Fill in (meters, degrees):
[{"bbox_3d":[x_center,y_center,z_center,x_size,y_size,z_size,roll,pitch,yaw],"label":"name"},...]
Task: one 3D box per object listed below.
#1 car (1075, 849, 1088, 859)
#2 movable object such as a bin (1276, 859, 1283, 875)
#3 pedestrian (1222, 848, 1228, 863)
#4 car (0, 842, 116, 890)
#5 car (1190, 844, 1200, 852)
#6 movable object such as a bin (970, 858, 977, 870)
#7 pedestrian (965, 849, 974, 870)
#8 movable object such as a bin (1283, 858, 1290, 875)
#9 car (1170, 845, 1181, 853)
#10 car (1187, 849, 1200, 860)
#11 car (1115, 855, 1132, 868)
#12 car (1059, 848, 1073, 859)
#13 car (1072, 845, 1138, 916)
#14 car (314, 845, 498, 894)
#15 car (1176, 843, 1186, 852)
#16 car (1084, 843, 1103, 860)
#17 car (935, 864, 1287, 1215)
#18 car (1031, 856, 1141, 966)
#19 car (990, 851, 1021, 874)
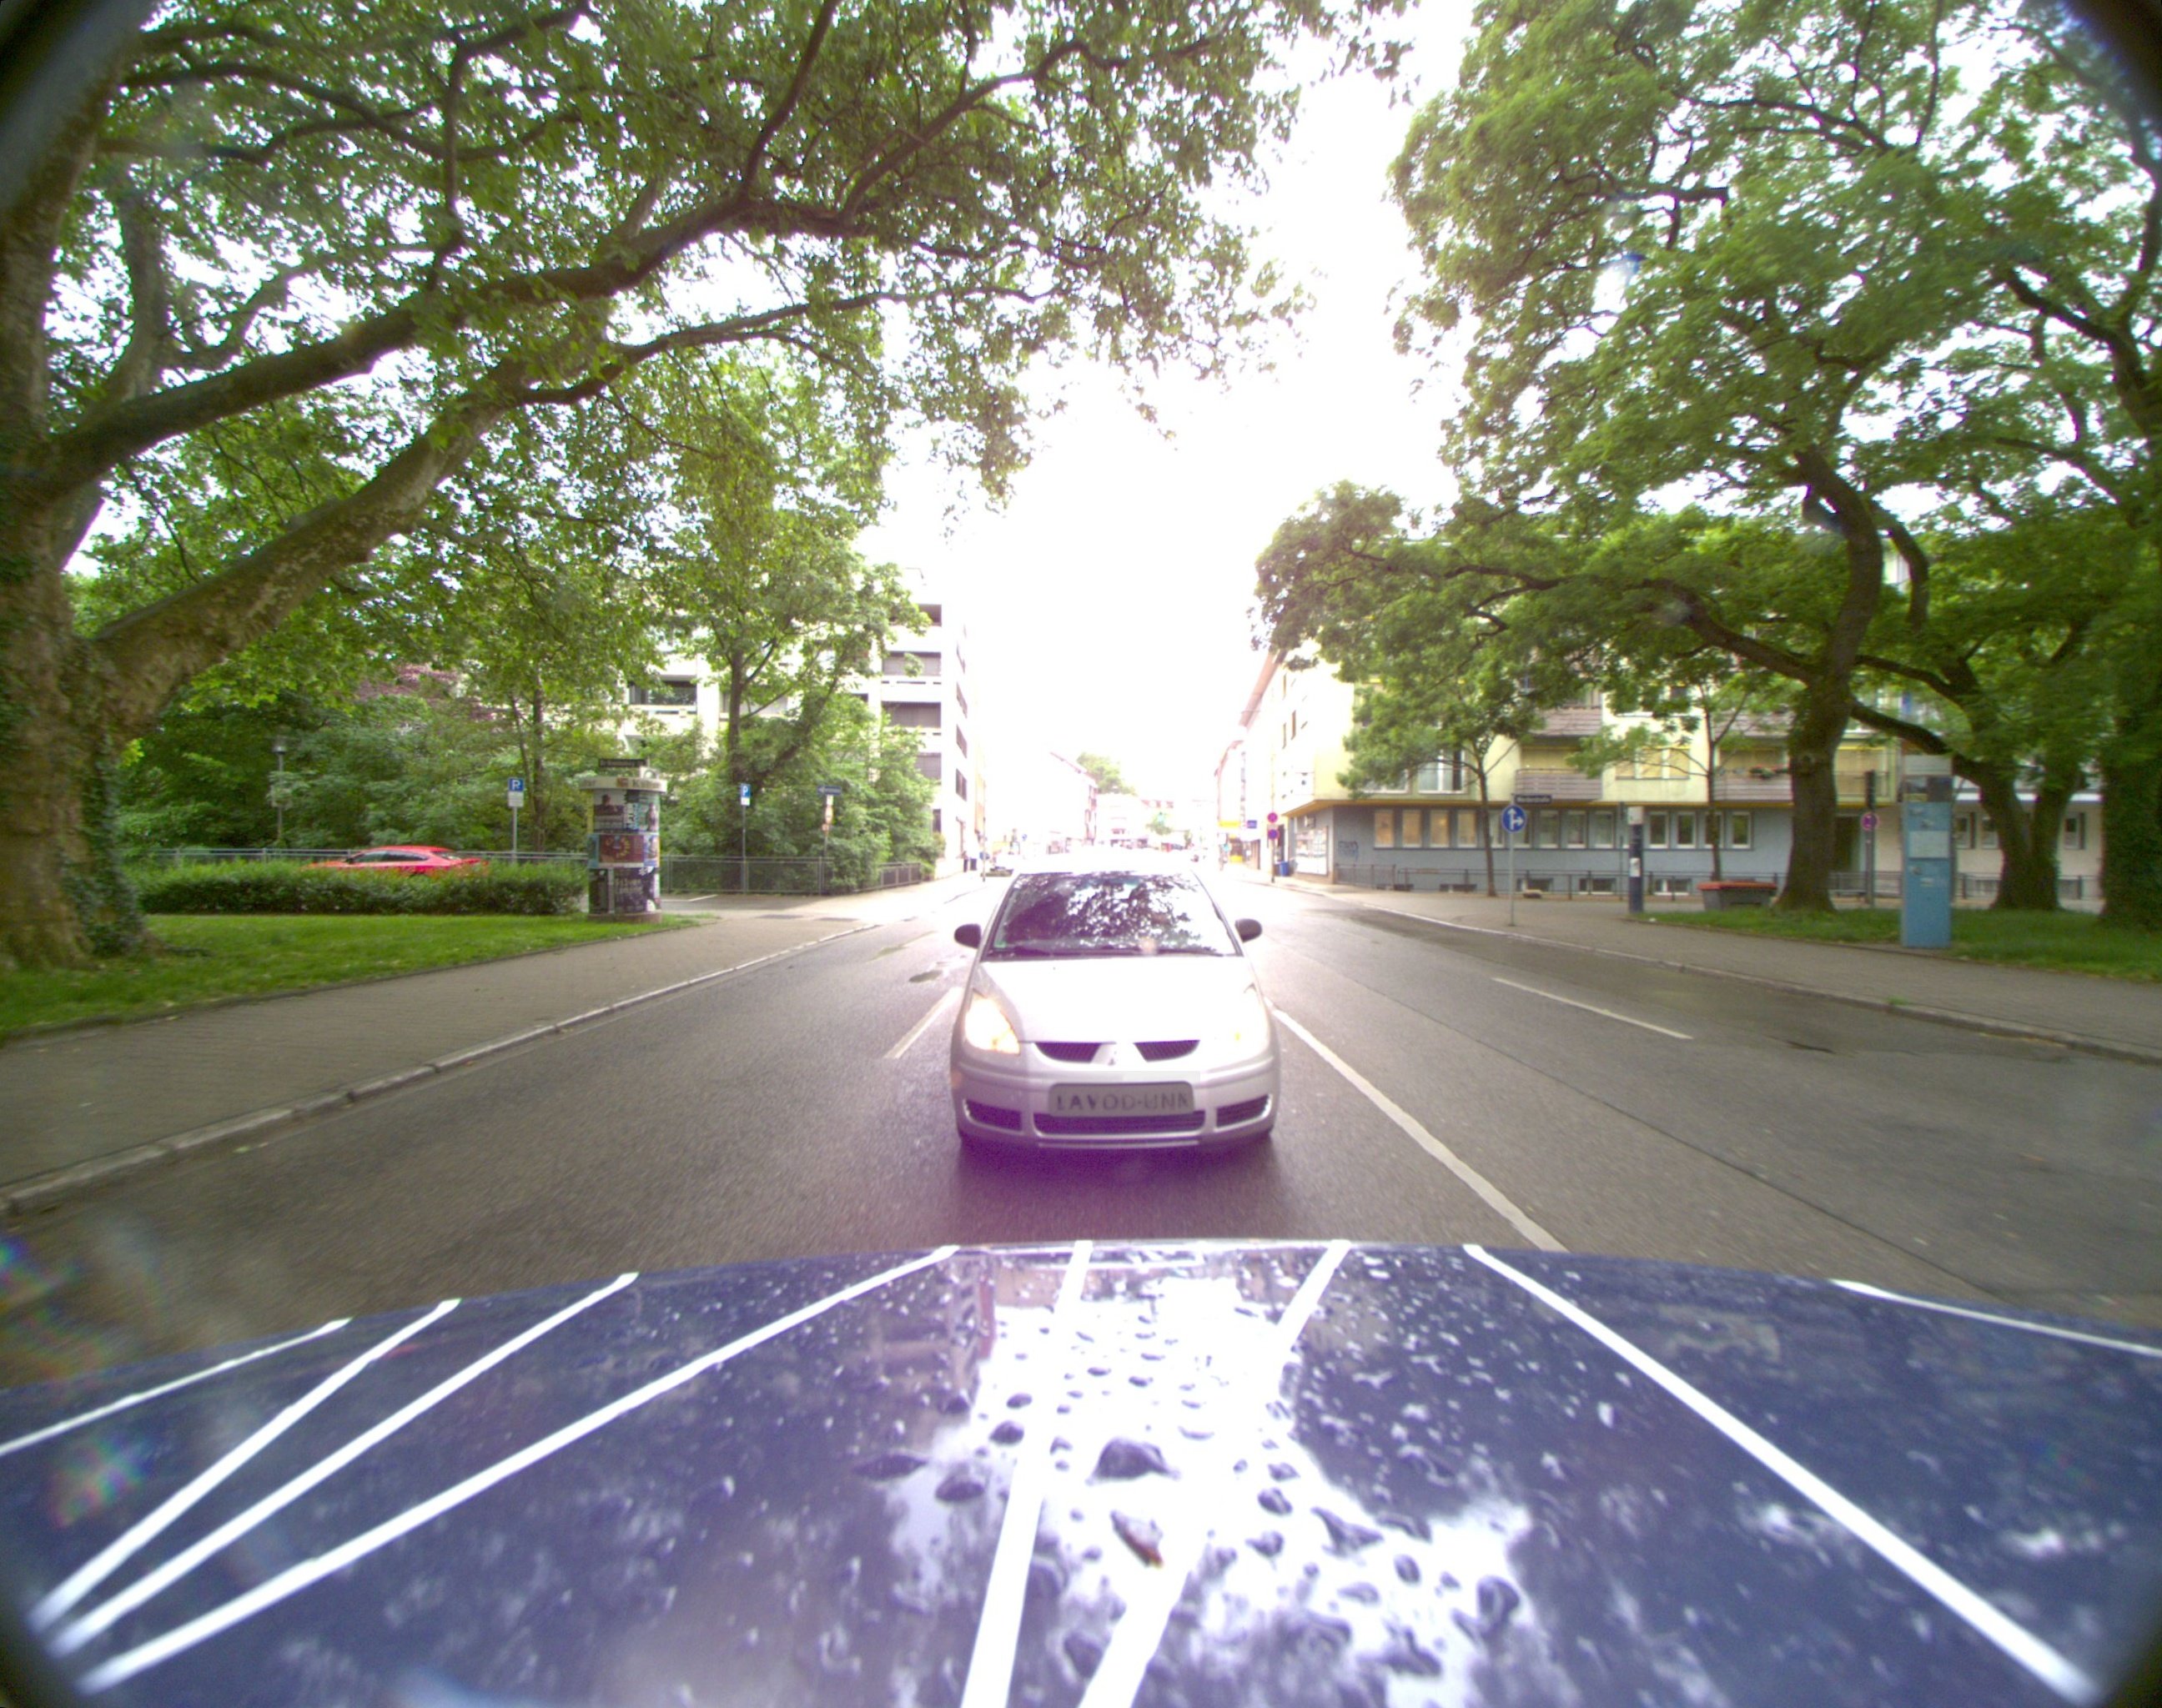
[{"bbox_3d":[0.037,0.042,110.466,1.802,1.434,3.897,1,0,1],"label":"car"},{"bbox_3d":[12.711,0.854,48.655,0.338,1.023,0.353,1,1,8],"label":"movable object such as a bin"},{"bbox_3d":[17.514,0.178,92.353,0.594,1.833,0.565,1,1,8],"label":"pedestrian"},{"bbox_3d":[-29.891,0.311,21.338,3.468,1.271,1.448,1,1,-5],"label":"car"},{"bbox_3d":[24.919,-1.252,166.592,1.867,1.648,4.001,1,0,4],"label":"car"},{"bbox_3d":[-8.959,0.820,63.150,0.556,1.035,0.292,1,1,0],"label":"movable object such as a bin"},{"bbox_3d":[-8.025,0.390,54.822,0.480,1.521,0.481,-2,1,1],"label":"pedestrian"},{"bbox_3d":[13.115,0.791,48.503,0.415,1.023,0.353,1,1,8],"label":"movable object such as a bin"},{"bbox_3d":[20.214,-1.153,162.331,1.998,1.631,4.001,1,0,4],"label":"car"},{"bbox_3d":[18.001,0.062,121.708,1.889,1.707,4.001,1,0,4],"label":"car"},{"bbox_3d":[4.890,0.825,88.087,1.701,1.434,3.897,1,0,1],"label":"car"},{"bbox_3d":[-2.099,-0.062,105.489,1.802,1.434,3.896,1,0,0],"label":"car"},{"bbox_3d":[0.575,0.637,20.339,1.584,1.705,3.648,1,1,0],"label":"car"},{"bbox_3d":[-19.295,0.428,21.841,3.790,1.271,1.576,1,1,-3],"label":"car"},{"bbox_3d":[22.010,-1.409,167.494,1.998,1.841,4.001,1,0,4],"label":"car"},{"bbox_3d":[1.403,-0.306,85.343,1.935,1.817,3.999,-2,1,0],"label":"car"},{"bbox_3d":[0.164,0.874,5.098,1.576,1.514,3.240,-1,1,1],"label":"car"},{"bbox_3d":[0.154,0.843,12.979,1.590,1.540,3.771,1,1,2],"label":"car"},{"bbox_3d":[-5.283,0.565,53.721,1.681,1.424,3.681,3,0,1],"label":"car"}]
